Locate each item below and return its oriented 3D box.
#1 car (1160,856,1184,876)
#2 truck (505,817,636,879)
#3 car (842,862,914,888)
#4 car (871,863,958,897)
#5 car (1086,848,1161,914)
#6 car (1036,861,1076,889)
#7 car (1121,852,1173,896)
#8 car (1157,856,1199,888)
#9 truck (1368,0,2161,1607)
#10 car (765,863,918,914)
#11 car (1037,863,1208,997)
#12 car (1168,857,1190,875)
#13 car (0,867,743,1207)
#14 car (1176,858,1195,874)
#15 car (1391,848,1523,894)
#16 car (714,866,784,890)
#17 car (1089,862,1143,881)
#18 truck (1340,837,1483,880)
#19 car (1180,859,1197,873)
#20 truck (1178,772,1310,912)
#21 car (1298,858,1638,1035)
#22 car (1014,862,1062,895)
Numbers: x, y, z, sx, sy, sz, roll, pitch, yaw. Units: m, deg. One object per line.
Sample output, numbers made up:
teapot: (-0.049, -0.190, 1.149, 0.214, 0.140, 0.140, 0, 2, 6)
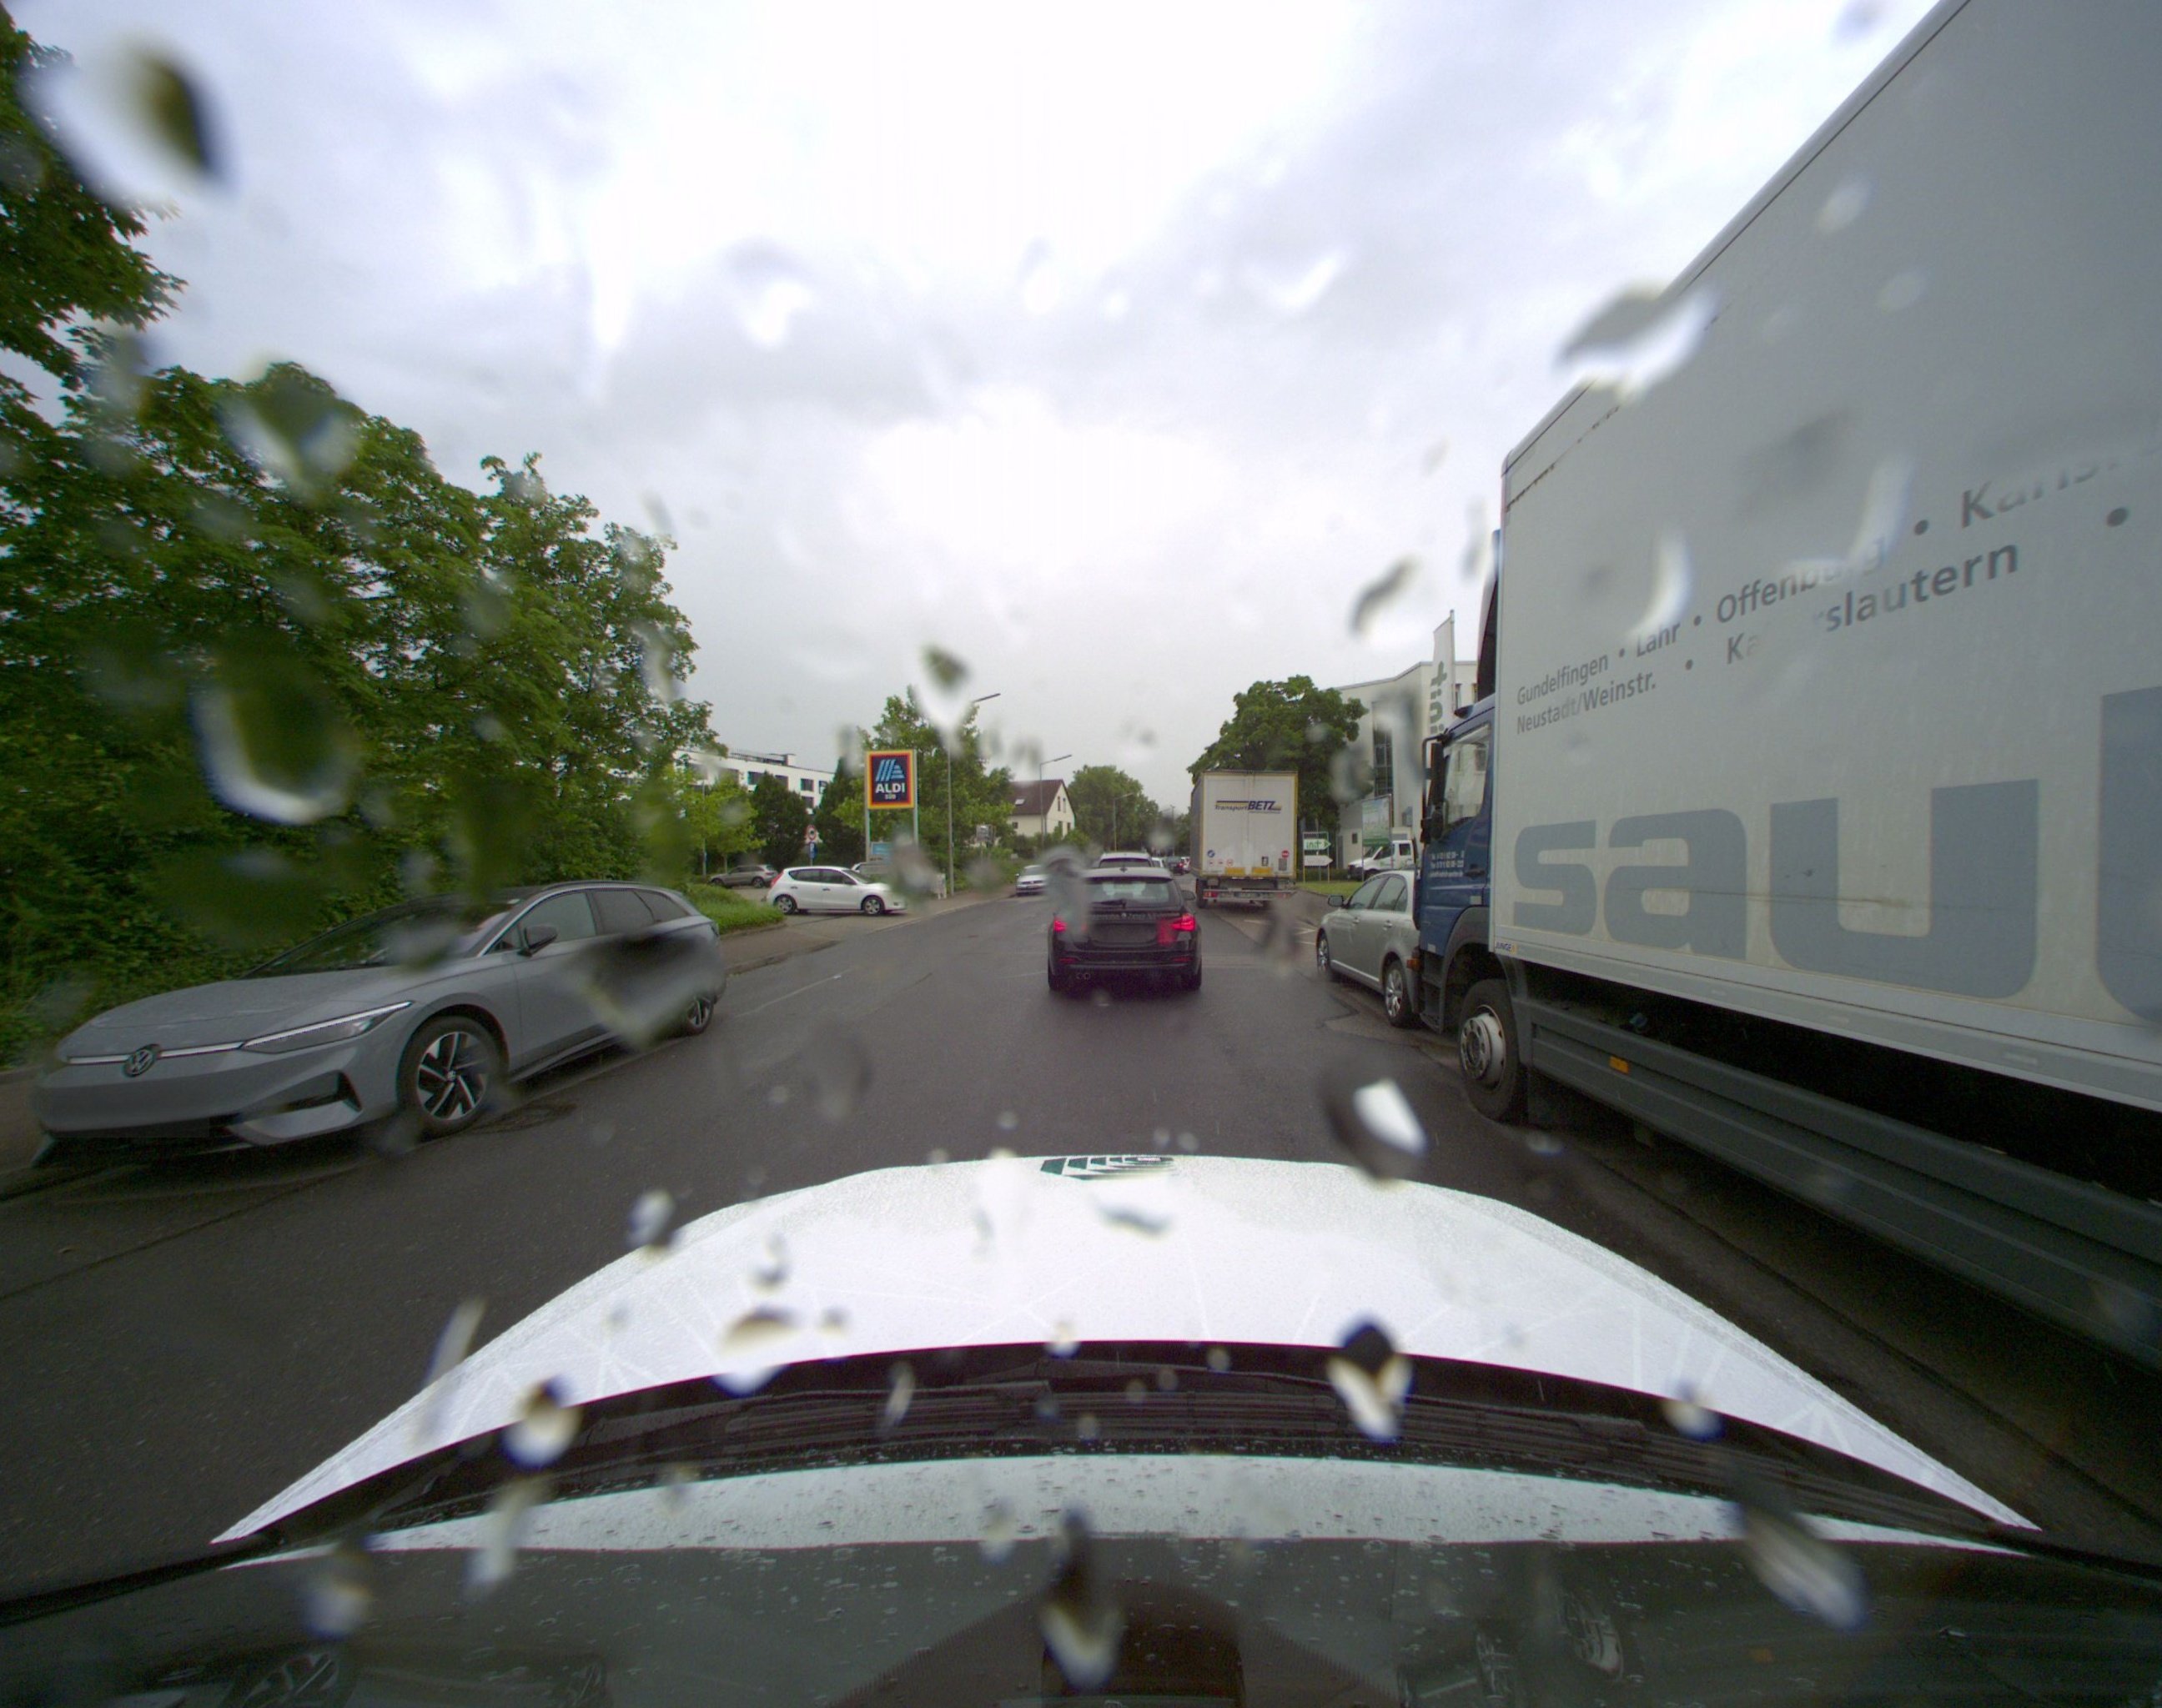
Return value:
car: (7.818, 1.023, 69.852, 1.793, 1.586, 4.011, -1, -1, 10)
truck: (-23.890, -0.233, 38.527, 1.986, 2.657, 6.398, -1, 0, 1)
car: (-12.789, 1.315, 51.390, 3.970, 1.540, 1.912, -1, 0, 3)
car: (-7.607, 1.179, 37.376, 3.554, 1.460, 1.714, 0, 0, 3)
car: (1.032, 0.682, 21.714, 1.798, 1.586, 3.999, 0, -1, 0)
car: (-1.348, 1.166, 45.562, 1.697, 1.367, 3.844, -4, 0, 5)
car: (2.622, 0.762, 31.574, 1.794, 1.586, 4.008, -1, -1, 8)
car: (5.411, 0.996, 45.916, 1.986, 1.684, 4.001, 0, -1, 1)
truck: (3.450, -0.445, 1.728, 2.730, 3.789, 9.304, 1, 0, 2)
car: (-7.280, 1.044, 25.059, 4.178, 1.460, 1.711, -1, -1, -1)
car: (0.447, 0.824, 10.601, 1.798, 1.395, 3.999, 0, -1, 0)
car: (9.187, 1.124, 76.322, 1.793, 1.586, 4.011, -1, -1, 10)
car: (-4.674, 0.959, 6.441, 1.802, 1.528, 4.749, -5, -1, 1)
car: (10.864, 1.250, 84.444, 1.793, 1.586, 4.011, -1, -1, 10)
car: (12.764, 0.525, 27.751, 3.733, 1.396, 1.738, 2, 2, 42)
car: (-22.910, 1.655, 56.297, 3.969, 1.499, 2.002, -1, 0, 4)
car: (2.742, 1.375, 63.792, 4.169, 1.363, 1.590, -1, 0, 2)
truck: (17.839, 0.255, 44.238, 6.894, 2.140, 2.096, -1, -1, 3)
car: (12.560, 1.422, 95.192, 1.793, 1.586, 4.011, -1, -1, 10)
truck: (4.706, -0.295, 25.121, 2.731, 3.611, 7.753, 1, 0, 2)
car: (3.833, 0.792, 9.033, 1.791, 1.441, 4.346, -2, 0, 2)
car: (-2.035, 1.133, 39.531, 1.698, 1.367, 4.606, -4, 0, 4)
